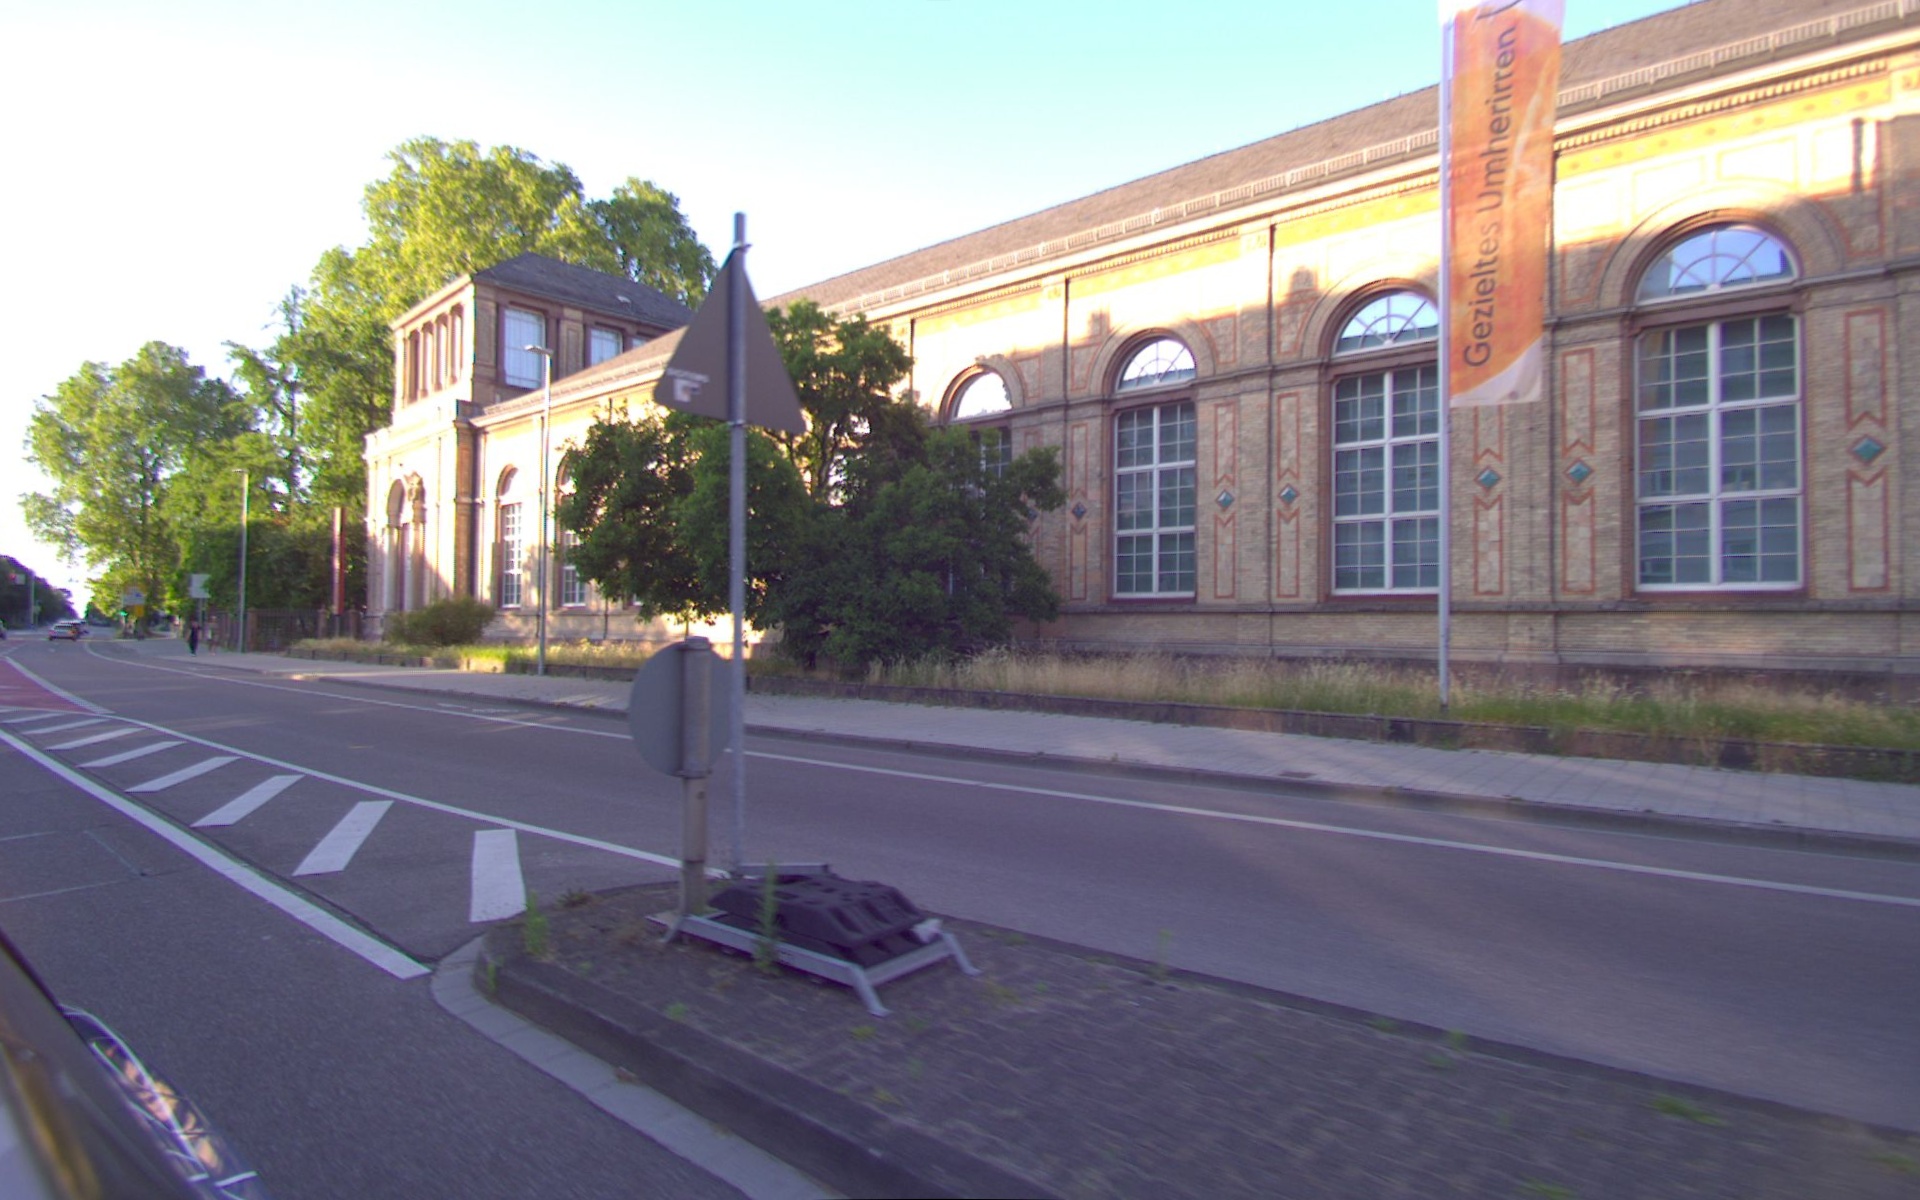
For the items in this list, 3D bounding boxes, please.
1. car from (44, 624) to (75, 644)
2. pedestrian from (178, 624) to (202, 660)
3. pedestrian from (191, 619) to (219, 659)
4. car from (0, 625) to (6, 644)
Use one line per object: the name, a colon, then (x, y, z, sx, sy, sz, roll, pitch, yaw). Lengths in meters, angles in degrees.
car: (-76.975, 2.871, 86.514, 1.892, 1.697, 4.005, 2, -2, -42)
pedestrian: (-33.871, 1.865, 44.536, 0.836, 1.524, 0.666, -3, 0, 44)
pedestrian: (-33.373, 1.738, 44.745, 0.795, 1.751, 0.852, 1, -2, -24)
car: (-74.875, 2.608, 78.051, 1.751, 1.475, 4.003, 4, -4, -44)
